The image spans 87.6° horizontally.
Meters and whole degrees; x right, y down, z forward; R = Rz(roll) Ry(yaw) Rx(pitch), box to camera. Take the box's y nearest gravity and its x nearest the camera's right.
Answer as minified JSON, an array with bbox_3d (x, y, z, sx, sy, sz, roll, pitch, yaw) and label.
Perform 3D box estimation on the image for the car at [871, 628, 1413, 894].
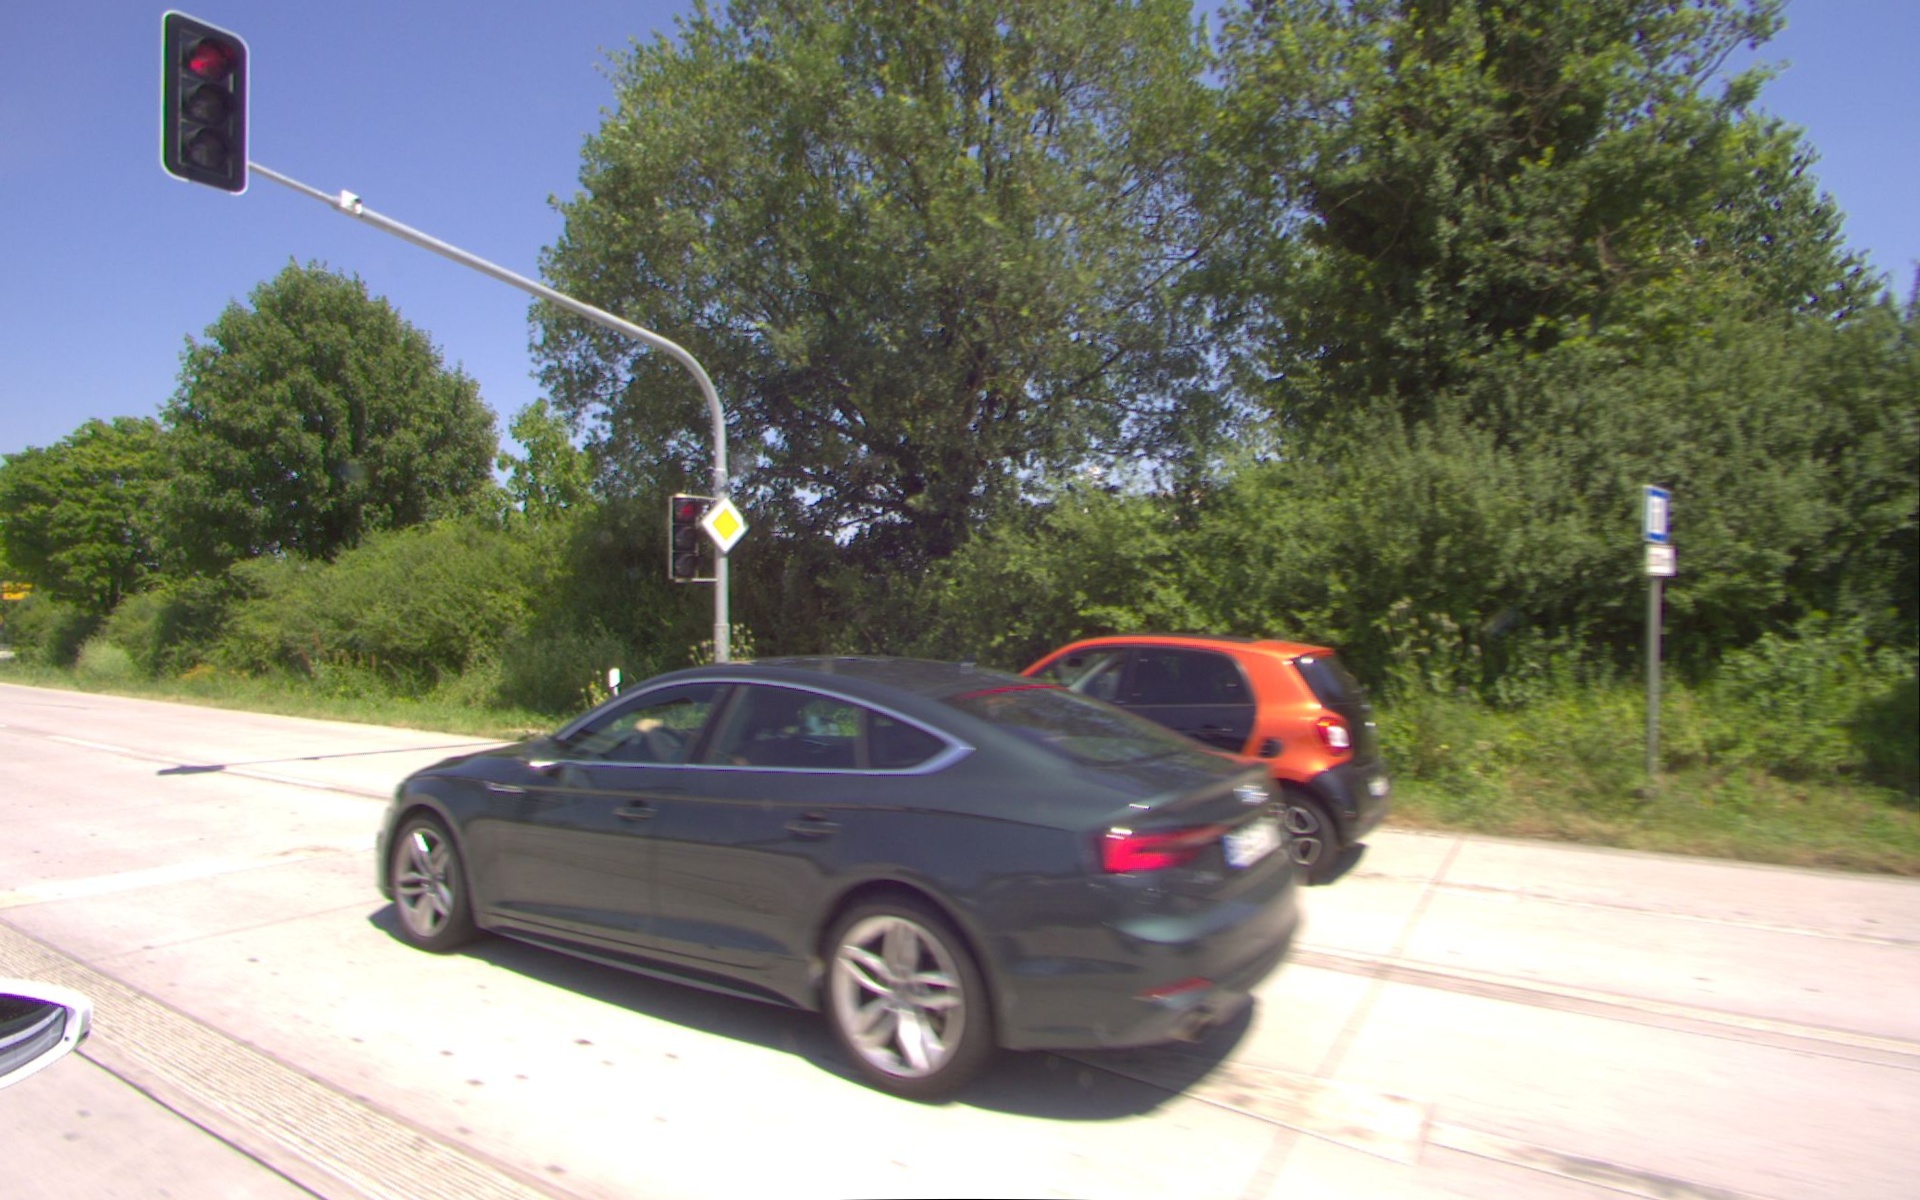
[{"bbox_3d":[1.322,0.994,7.433,3.596,1.528,1.766,-1,-2,29],"label":"car"}]

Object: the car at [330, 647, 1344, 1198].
[{"bbox_3d":[-0.792,0.939,4.606,4.544,1.428,1.765,-2,-2,32],"label":"car"}]
